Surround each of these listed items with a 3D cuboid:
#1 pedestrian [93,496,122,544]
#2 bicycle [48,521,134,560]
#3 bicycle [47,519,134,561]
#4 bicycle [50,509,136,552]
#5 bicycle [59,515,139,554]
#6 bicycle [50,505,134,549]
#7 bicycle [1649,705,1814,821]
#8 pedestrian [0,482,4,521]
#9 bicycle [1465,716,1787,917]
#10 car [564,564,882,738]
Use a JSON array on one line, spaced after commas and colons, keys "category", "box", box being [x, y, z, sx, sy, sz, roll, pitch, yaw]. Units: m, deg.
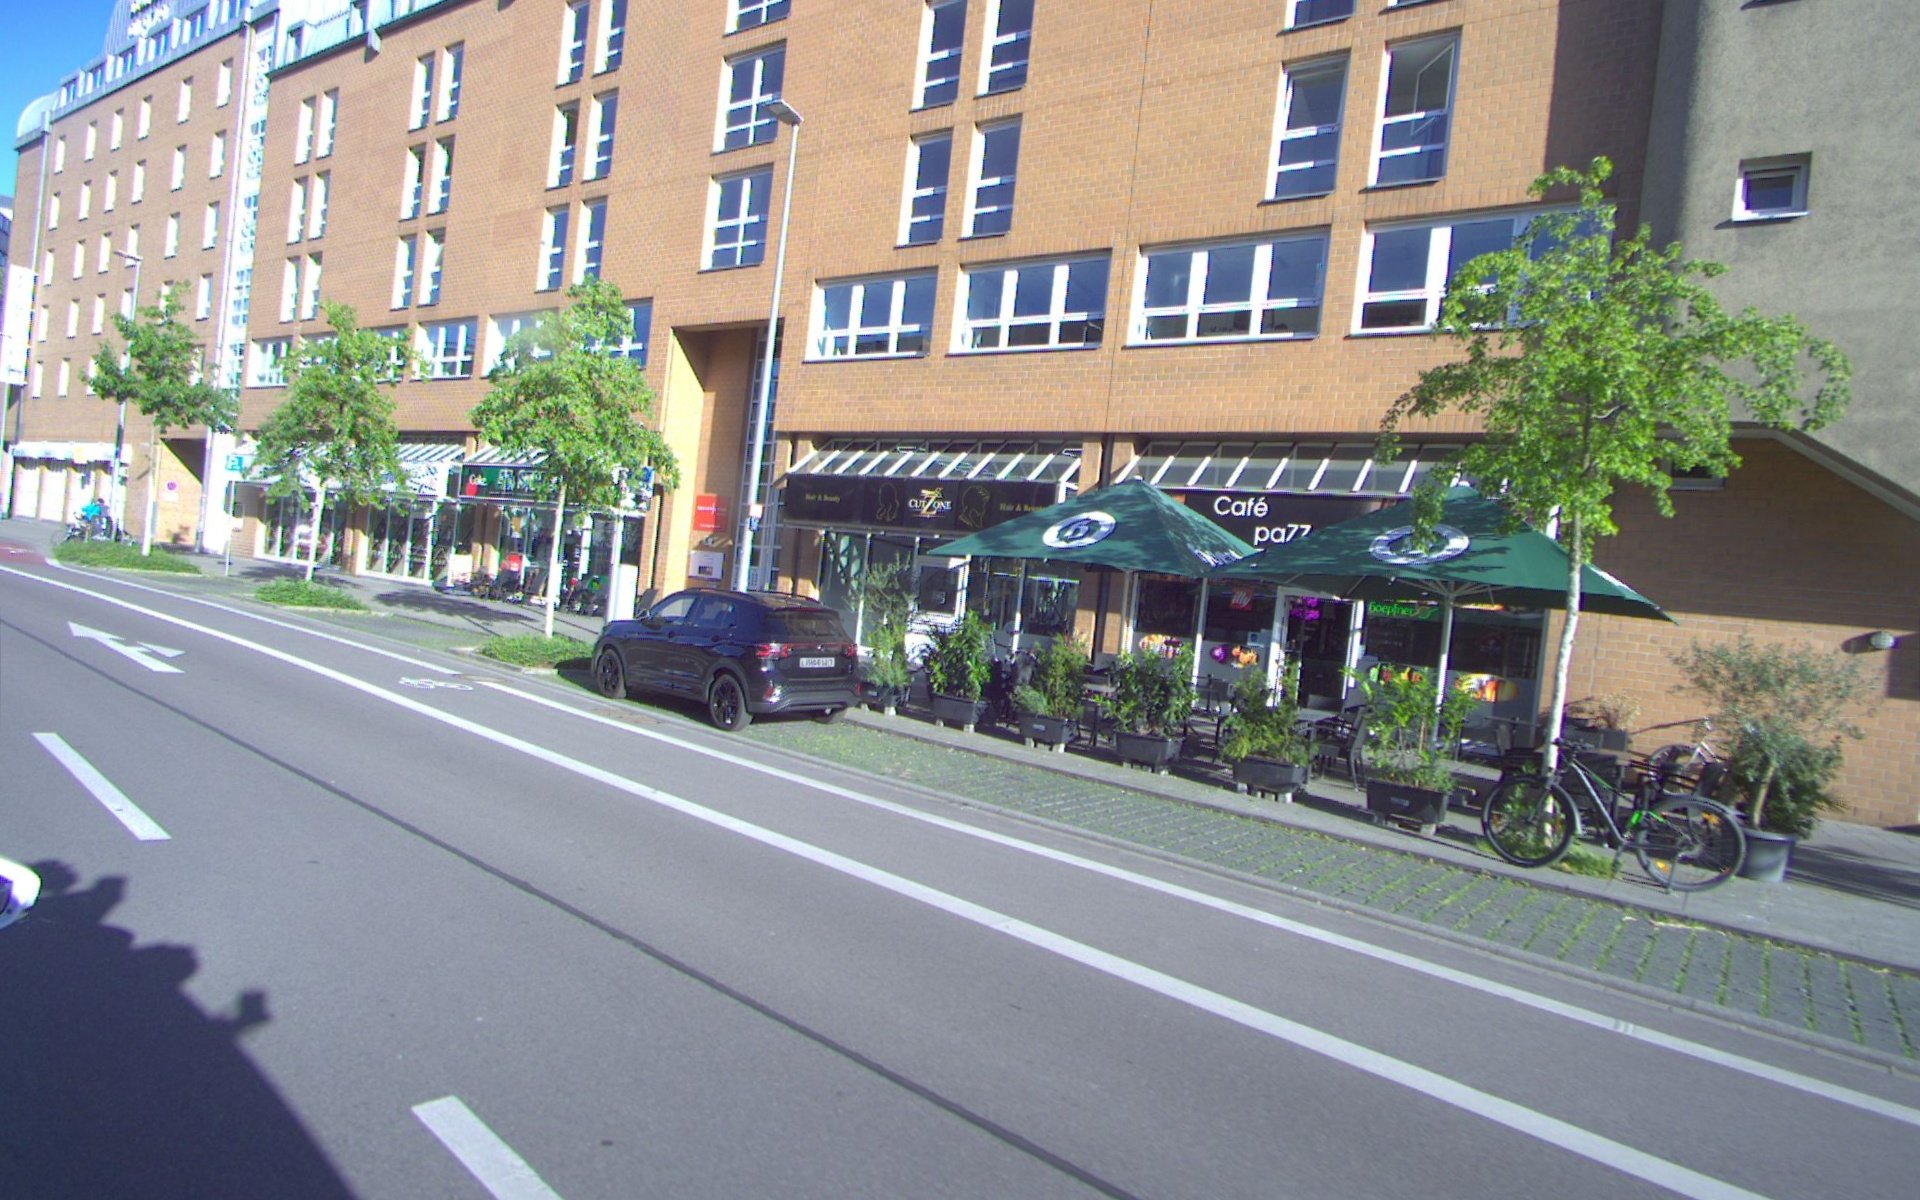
[{"category": "pedestrian", "box": [-35.037, -3.289, 41.343, 0.736, 1.844, 0.606, 7, 1, 32]}, {"category": "bicycle", "box": [-26.633, -1.812, 30.879, 1.936, 0.981, 0.548, 5, 1, -40]}, {"category": "bicycle", "box": [-26.296, -1.804, 30.464, 1.936, 1.035, 0.496, 5, 1, -40]}, {"category": "bicycle", "box": [-27.066, -2.154, 31.438, 0.547, 1.089, 1.940, 7, 1, 44]}, {"category": "bicycle", "box": [-28.933, -2.196, 33.821, 0.617, 1.088, 1.939, 7, 1, 45]}, {"category": "bicycle", "box": [-27.423, -2.301, 31.806, 0.484, 1.151, 1.940, 7, 1, 44]}, {"category": "bicycle", "box": [10.033, 2.093, 13.153, 1.511, 1.185, 0.614, 7, 2, 30]}, {"category": "pedestrian", "box": [-46.008, -4.717, 47.792, 0.736, 1.844, 0.606, 7, 1, 32]}, {"category": "bicycle", "box": [5.177, 1.645, 7.998, 1.964, 1.097, 0.765, 5, 5, 30]}, {"category": "car", "box": [-3.162, 0.565, 12.987, 4.170, 1.657, 1.718, 6, 1, 40]}]
